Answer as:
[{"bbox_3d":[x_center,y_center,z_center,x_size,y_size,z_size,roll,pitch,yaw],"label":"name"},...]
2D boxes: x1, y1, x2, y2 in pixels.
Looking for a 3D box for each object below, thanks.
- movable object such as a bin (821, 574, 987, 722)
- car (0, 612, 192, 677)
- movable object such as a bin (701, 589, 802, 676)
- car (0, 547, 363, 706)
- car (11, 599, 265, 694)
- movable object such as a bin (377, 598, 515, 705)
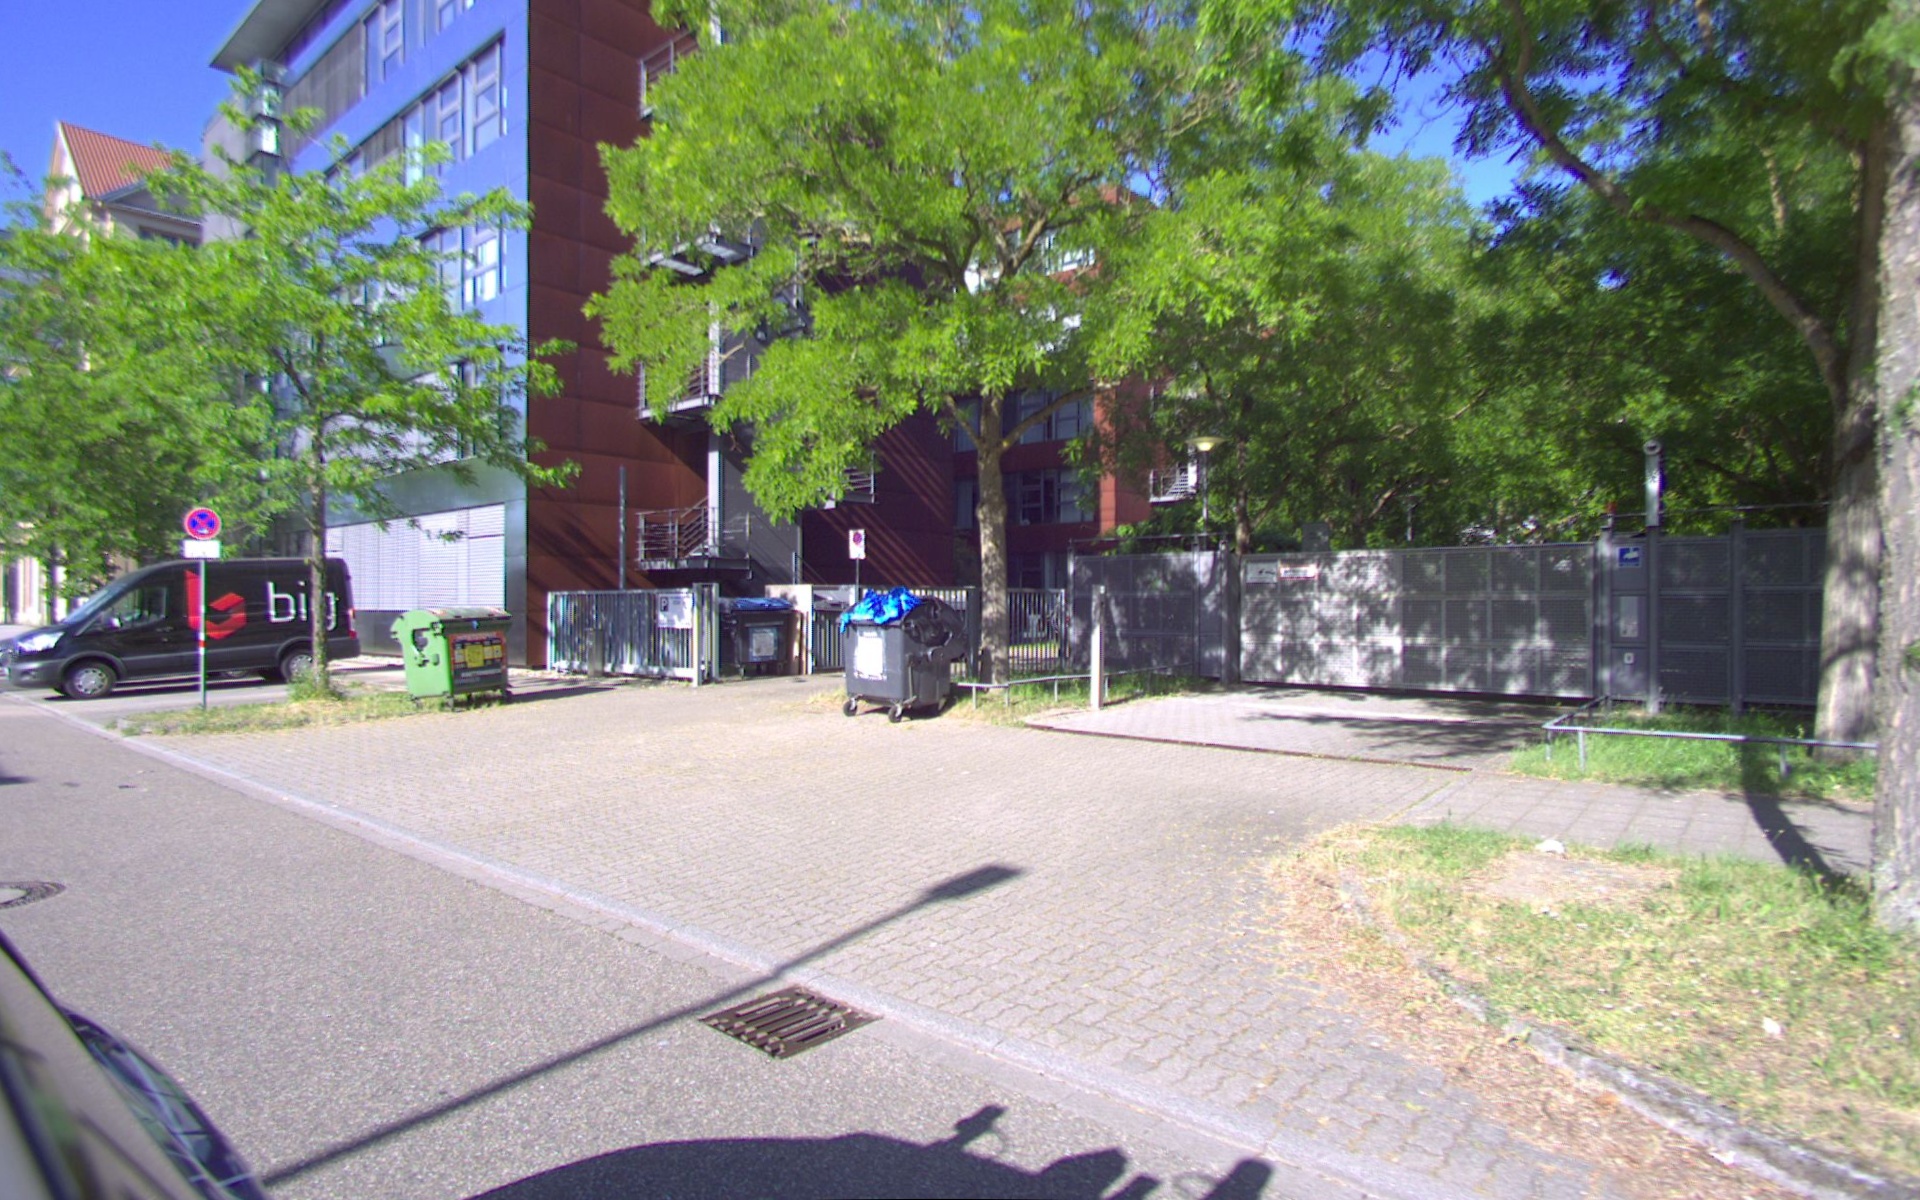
[{"bbox_3d":[-0.698,0.529,12.675,1.523,1.608,1.398,3,6,44],"label":"movable object such as a bin"},{"bbox_3d":[-22.634,1.104,25.840,1.891,1.360,4.489,0,2,40],"label":"car"},{"bbox_3d":[-3.766,0.563,18.317,1.011,1.497,1.465,0,-1,41],"label":"movable object such as a bin"},{"bbox_3d":[-15.014,0.337,19.662,2.230,2.642,5.400,0,2,40],"label":"car"},{"bbox_3d":[-17.087,0.872,21.181,1.890,1.657,3.794,0,2,39],"label":"car"},{"bbox_3d":[-7.266,0.689,14.352,1.220,1.424,1.287,0,0,23],"label":"movable object such as a bin"}]
